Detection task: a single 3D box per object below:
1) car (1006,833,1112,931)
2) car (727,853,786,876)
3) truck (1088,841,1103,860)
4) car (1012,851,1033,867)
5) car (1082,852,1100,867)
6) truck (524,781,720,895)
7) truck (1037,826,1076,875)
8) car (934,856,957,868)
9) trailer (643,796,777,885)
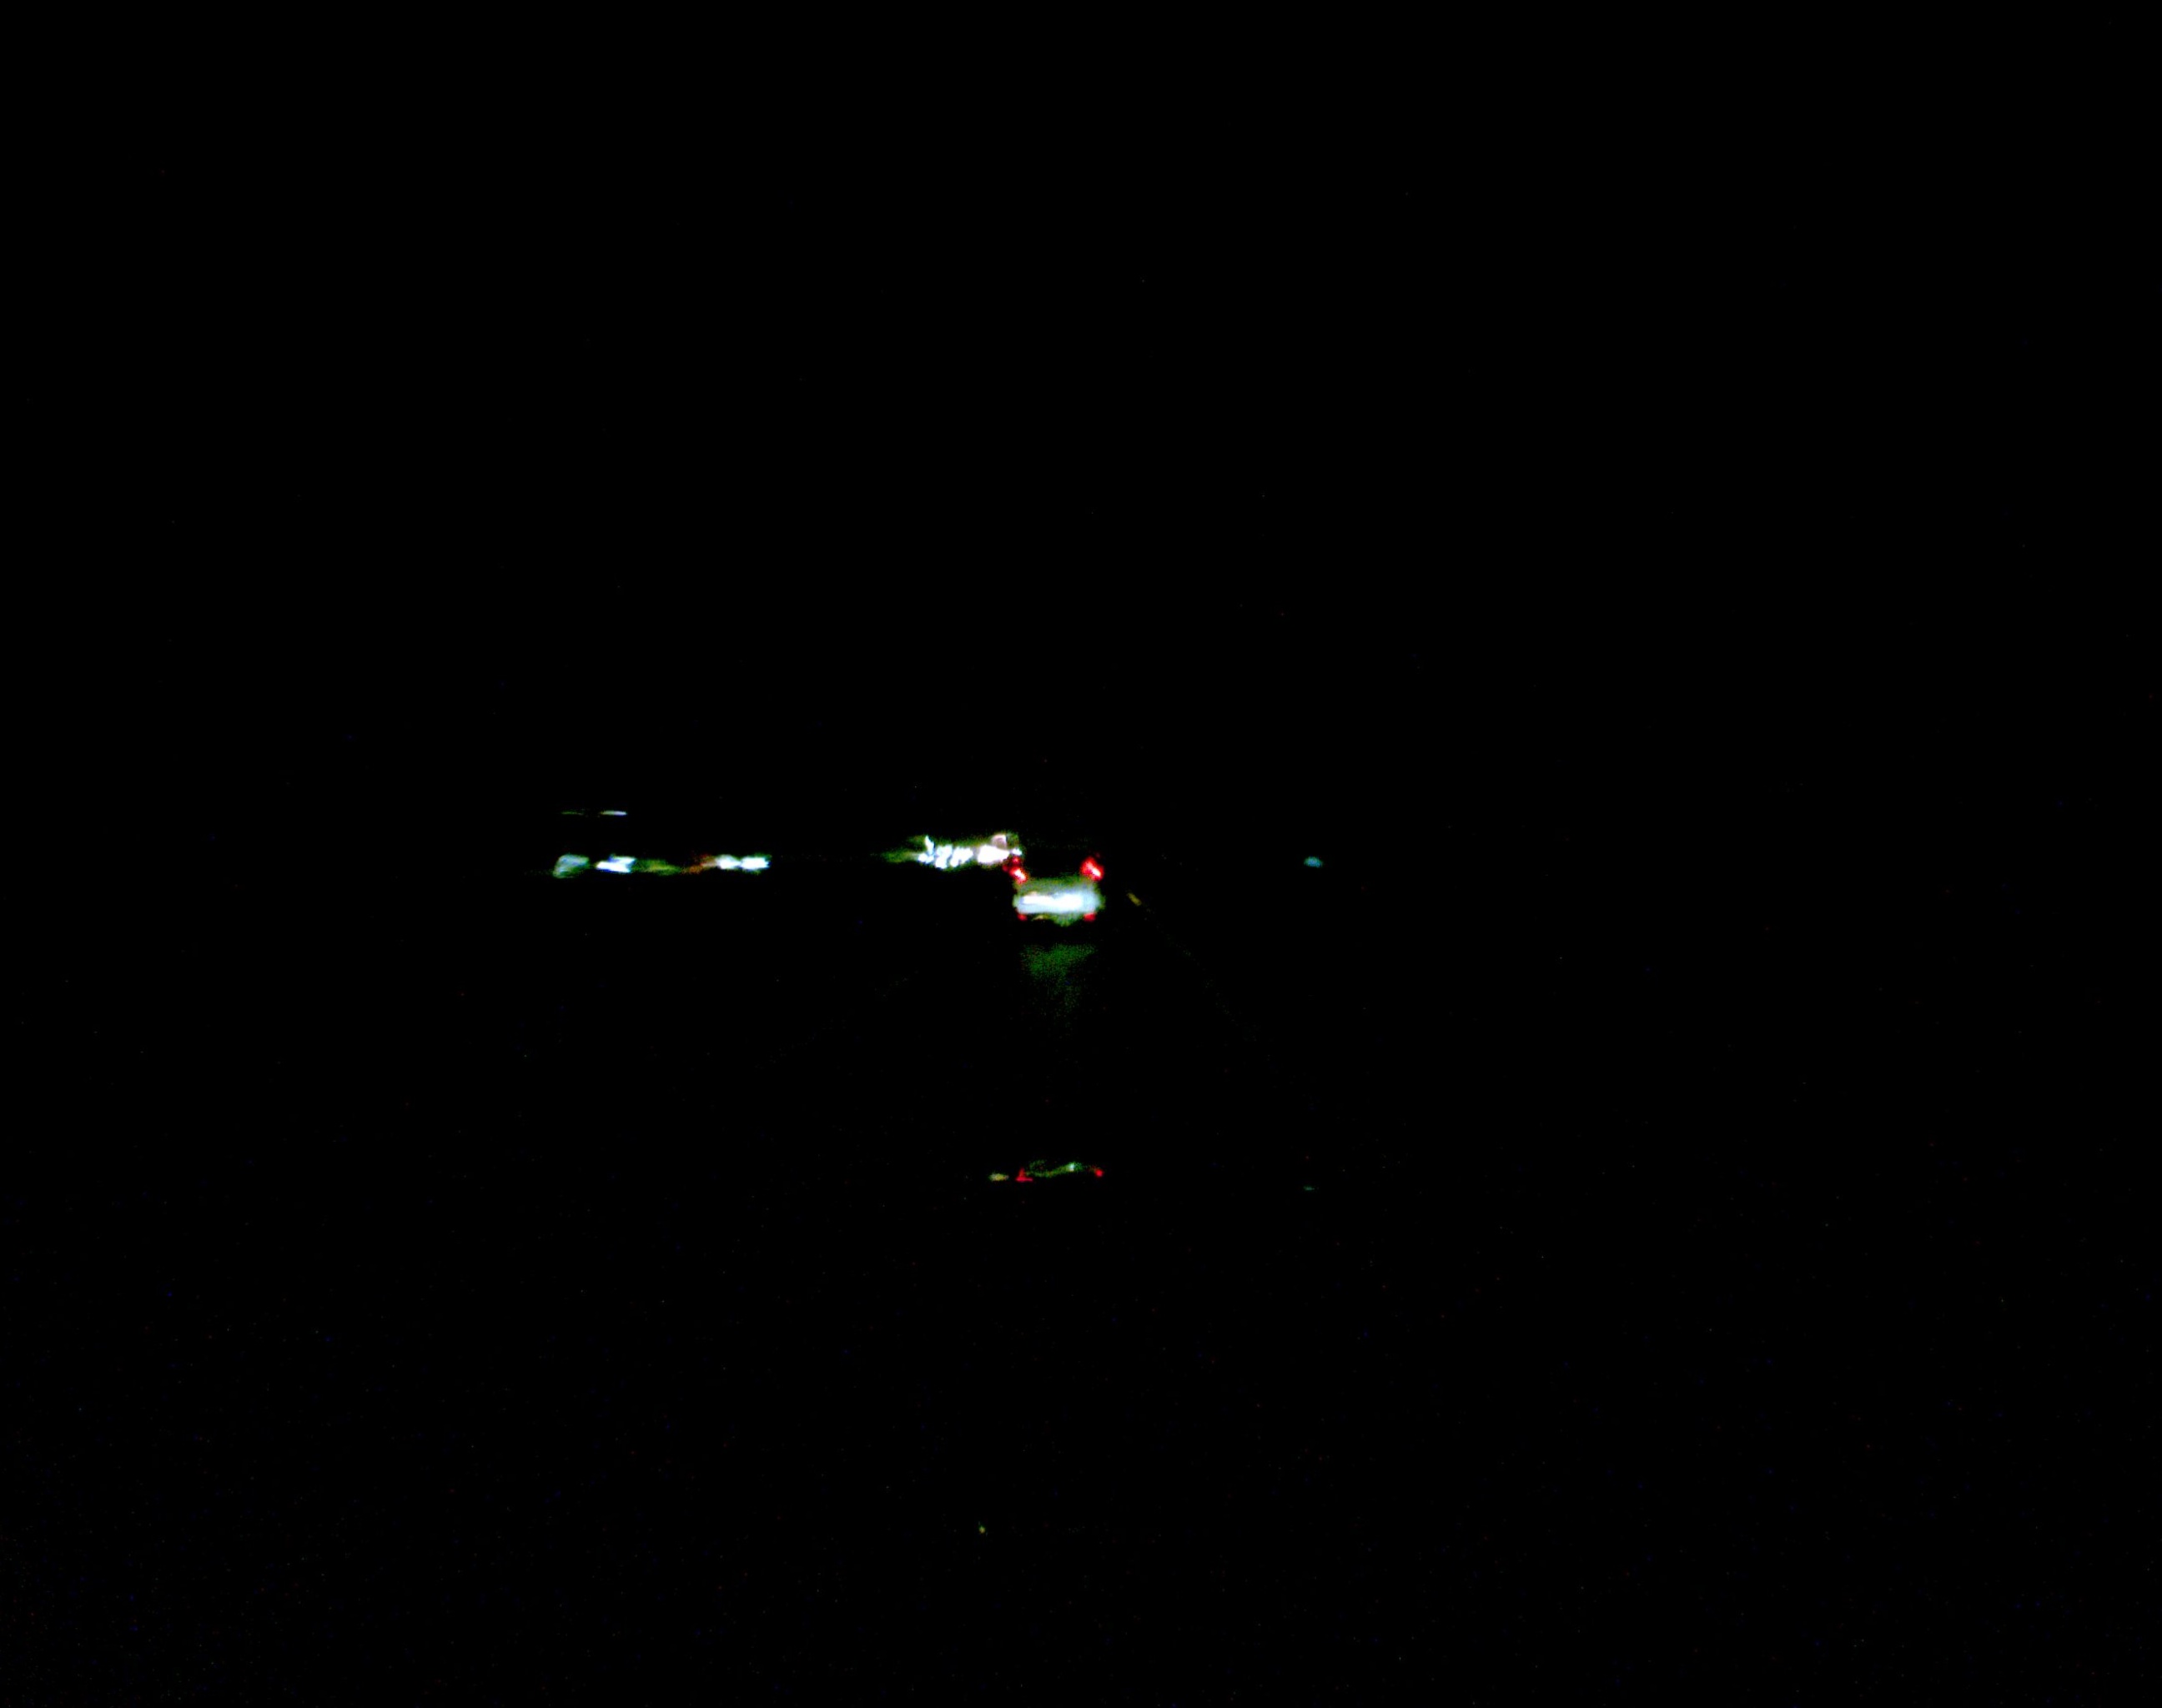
[{"bbox_3d":[-0.374,0.526,17.537,1.946,1.792,5.124,0,0,1],"label":"car"},{"bbox_3d":[-19.249,0.594,48.489,1.701,1.221,4.272,2,0,0],"label":"car"},{"bbox_3d":[3.840,-0.903,218.362,3.811,4.915,11.605,1,0,0],"label":"truck"},{"bbox_3d":[-6.947,0.541,96.665,1.987,1.706,4.195,5,0,0],"label":"car"},{"bbox_3d":[1.077,0.626,91.526,1.987,1.707,4.195,0,0,0],"label":"car"},{"bbox_3d":[-24.261,-0.793,44.138,4.326,5.141,10.470,4,0,0],"label":"truck"},{"bbox_3d":[-2.781,-0.357,97.711,4.153,5.544,13.073,0,0,0],"label":"truck"},{"bbox_3d":[-17.672,1.009,106.535,1.965,1.464,5.370,2,0,0],"label":"car"},{"bbox_3d":[-24.220,-0.839,53.963,4.325,5.141,8.996,4,0,0],"label":"trailer"}]
